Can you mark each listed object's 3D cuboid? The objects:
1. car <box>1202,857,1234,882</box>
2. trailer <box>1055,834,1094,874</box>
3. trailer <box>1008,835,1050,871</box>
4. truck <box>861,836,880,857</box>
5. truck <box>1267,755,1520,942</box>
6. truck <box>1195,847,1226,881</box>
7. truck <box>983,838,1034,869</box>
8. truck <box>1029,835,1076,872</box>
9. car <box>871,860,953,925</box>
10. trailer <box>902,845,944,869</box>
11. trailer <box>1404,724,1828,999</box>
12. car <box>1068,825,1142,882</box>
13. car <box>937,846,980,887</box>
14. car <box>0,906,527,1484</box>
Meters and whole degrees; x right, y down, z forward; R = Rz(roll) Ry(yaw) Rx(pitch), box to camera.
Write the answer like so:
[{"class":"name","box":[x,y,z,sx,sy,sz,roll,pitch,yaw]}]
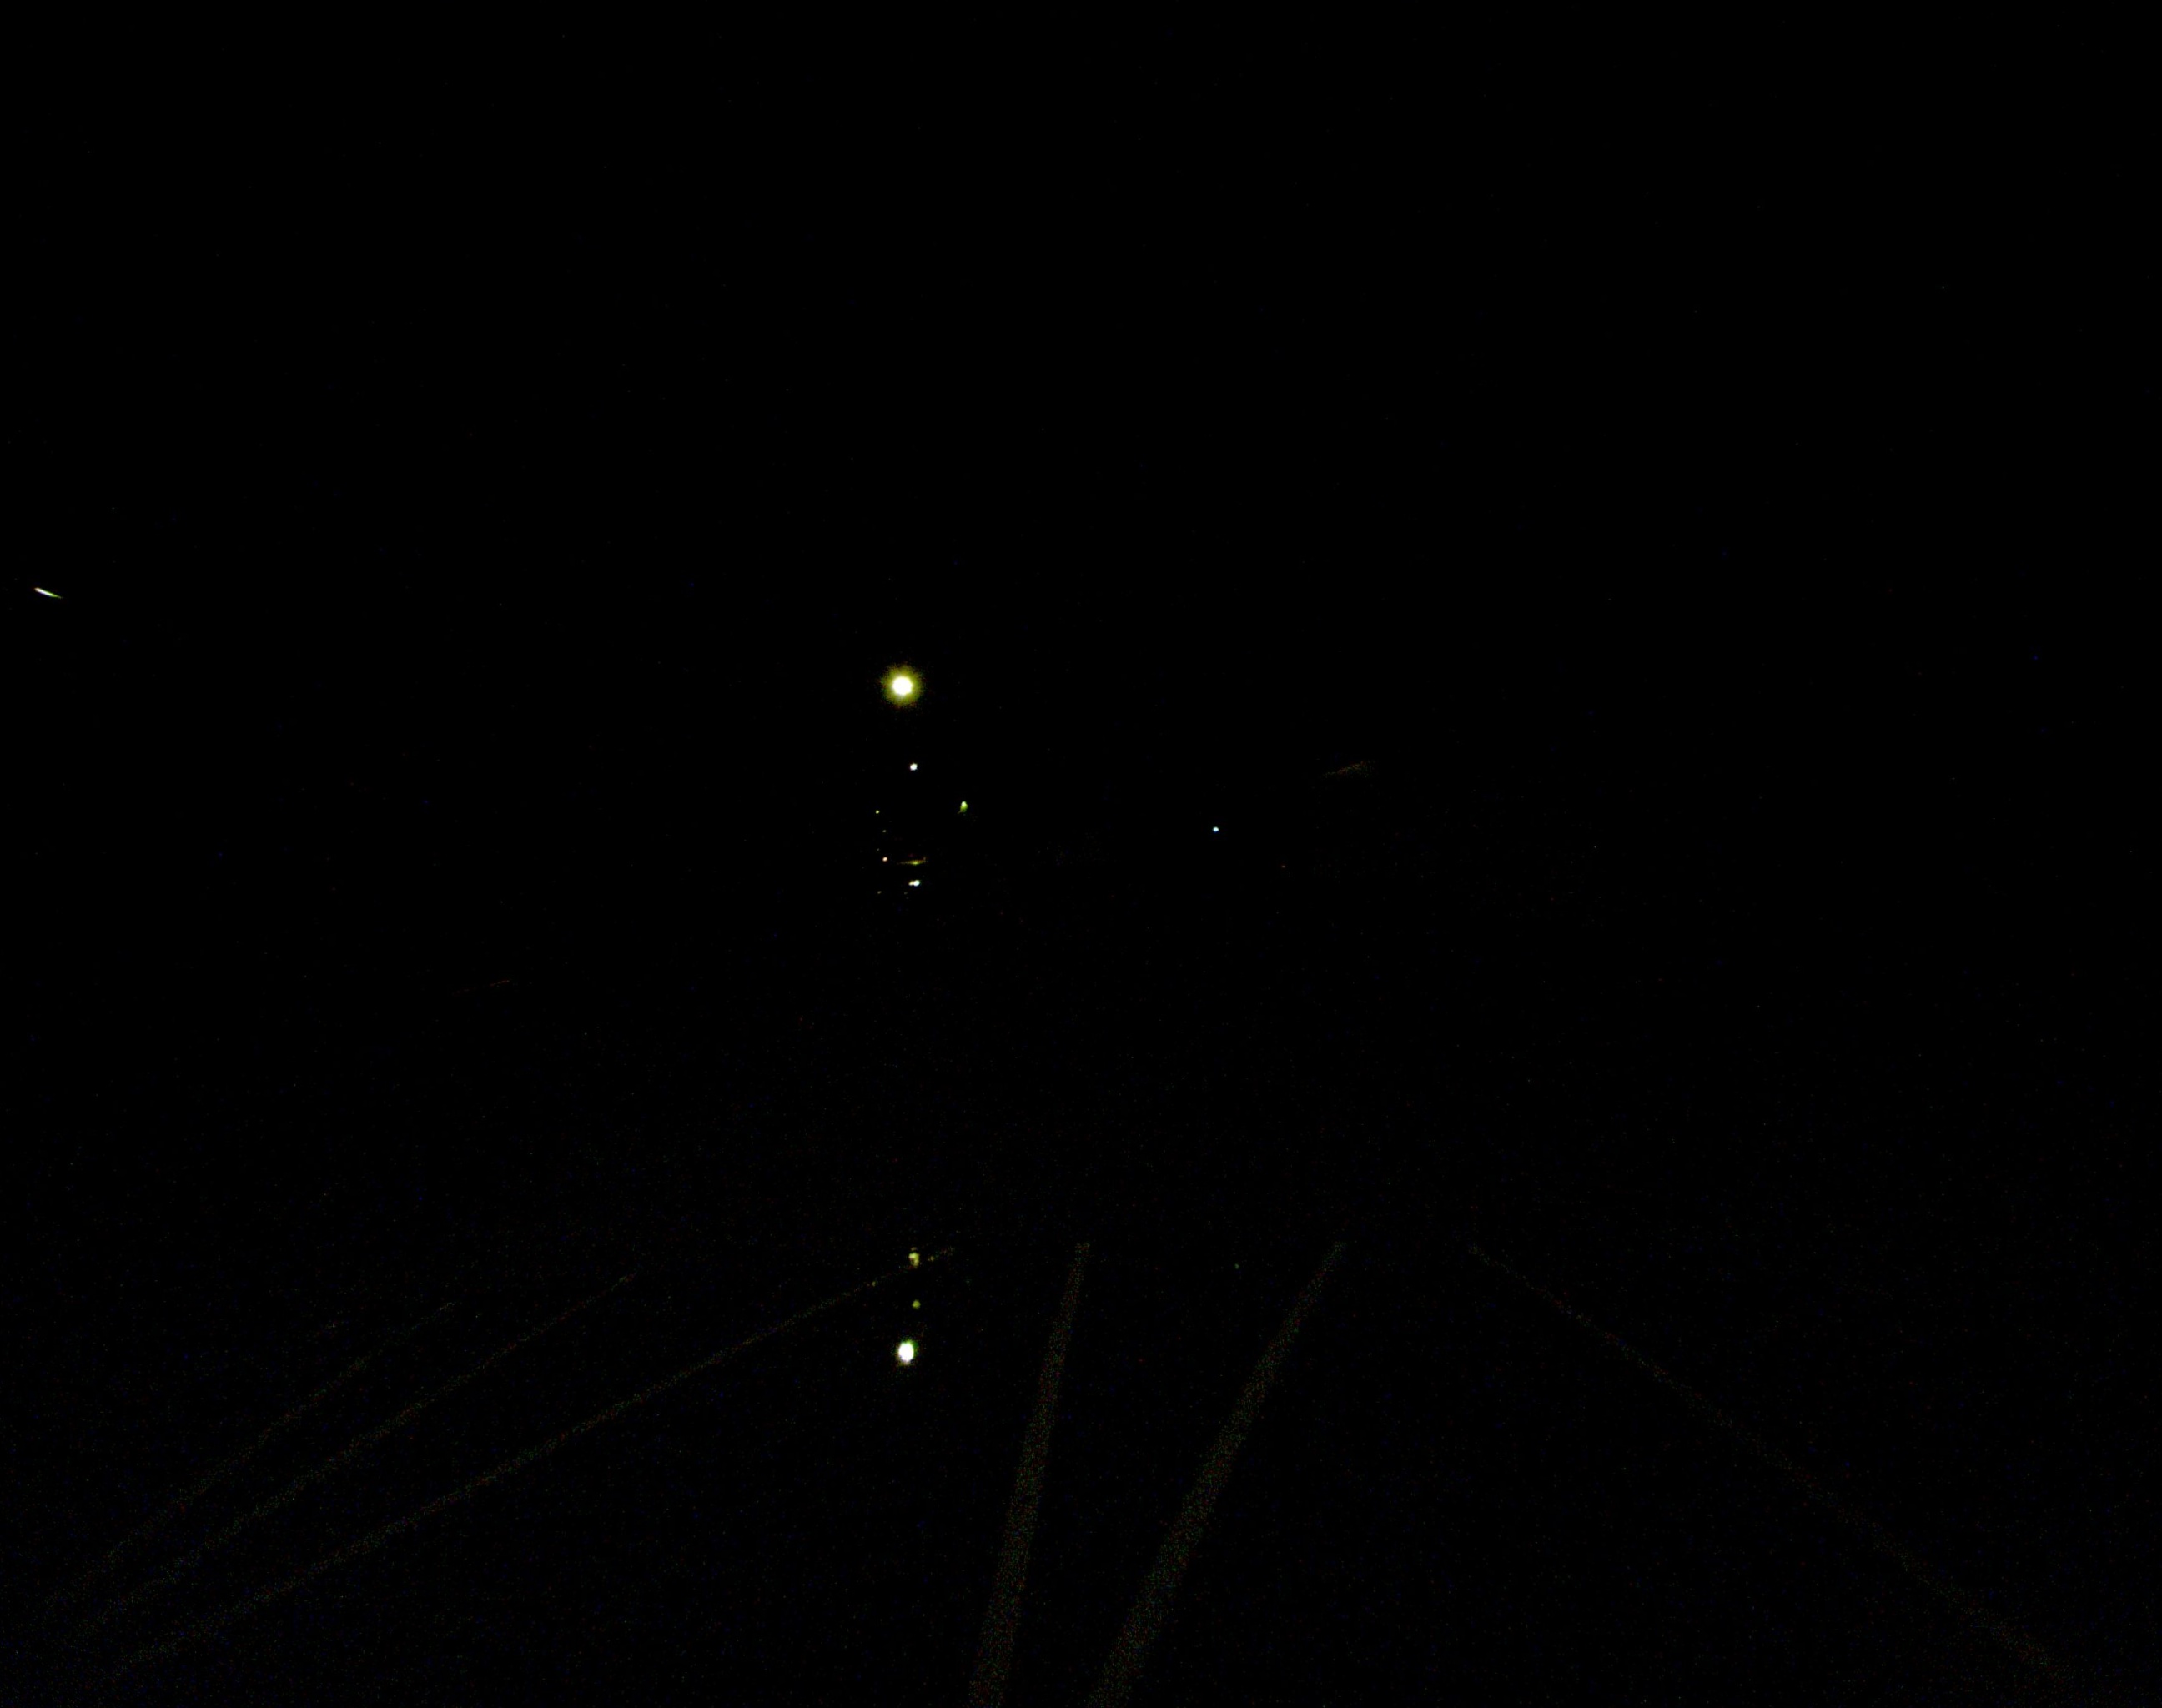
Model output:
[{"class":"car","box":[9.754,1.082,54.248,1.861,1.630,4.001,0,0,5]},{"class":"trailer","box":[-0.504,0.011,54.090,2.004,2.749,3.996,0,0,-11]},{"class":"trailer","box":[-4.794,-0.078,69.199,2.491,3.055,7.944,-1,0,-13]},{"class":"truck","box":[-38.374,-1.265,138.406,3.060,3.601,9.587,-1,0,-17]},{"class":"truck","box":[6.355,-0.106,16.889,2.379,3.224,7.230,-1,0,-2]},{"class":"truck","box":[10.630,0.781,62.682,2.137,2.598,7.102,0,0,7]},{"class":"truck","box":[-7.744,-0.029,79.708,2.755,3.047,9.319,-1,0,-22]},{"class":"truck","box":[-2.394,-0.015,60.648,2.001,2.768,7.234,-1,0,-16]},{"class":"car","box":[-4.582,0.986,21.094,1.613,1.503,3.823,-4,0,-5]},{"class":"trailer","box":[-13.389,0.271,64.109,1.498,2.002,4.972,-1,0,-36]},{"class":"trailer","box":[6.511,0.063,10.128,2.211,2.779,4.615,-1,0,-3]},{"class":"car","box":[1.345,-0.008,46.984,2.391,3.224,7.221,-1,0,-16]},{"class":"car","box":[-6.726,0.650,41.274,2.000,2.002,5.349,-3,0,-11]},{"class":"car","box":[-3.983,1.084,2.344,1.715,1.499,3.998,-2,0,-3]}]
